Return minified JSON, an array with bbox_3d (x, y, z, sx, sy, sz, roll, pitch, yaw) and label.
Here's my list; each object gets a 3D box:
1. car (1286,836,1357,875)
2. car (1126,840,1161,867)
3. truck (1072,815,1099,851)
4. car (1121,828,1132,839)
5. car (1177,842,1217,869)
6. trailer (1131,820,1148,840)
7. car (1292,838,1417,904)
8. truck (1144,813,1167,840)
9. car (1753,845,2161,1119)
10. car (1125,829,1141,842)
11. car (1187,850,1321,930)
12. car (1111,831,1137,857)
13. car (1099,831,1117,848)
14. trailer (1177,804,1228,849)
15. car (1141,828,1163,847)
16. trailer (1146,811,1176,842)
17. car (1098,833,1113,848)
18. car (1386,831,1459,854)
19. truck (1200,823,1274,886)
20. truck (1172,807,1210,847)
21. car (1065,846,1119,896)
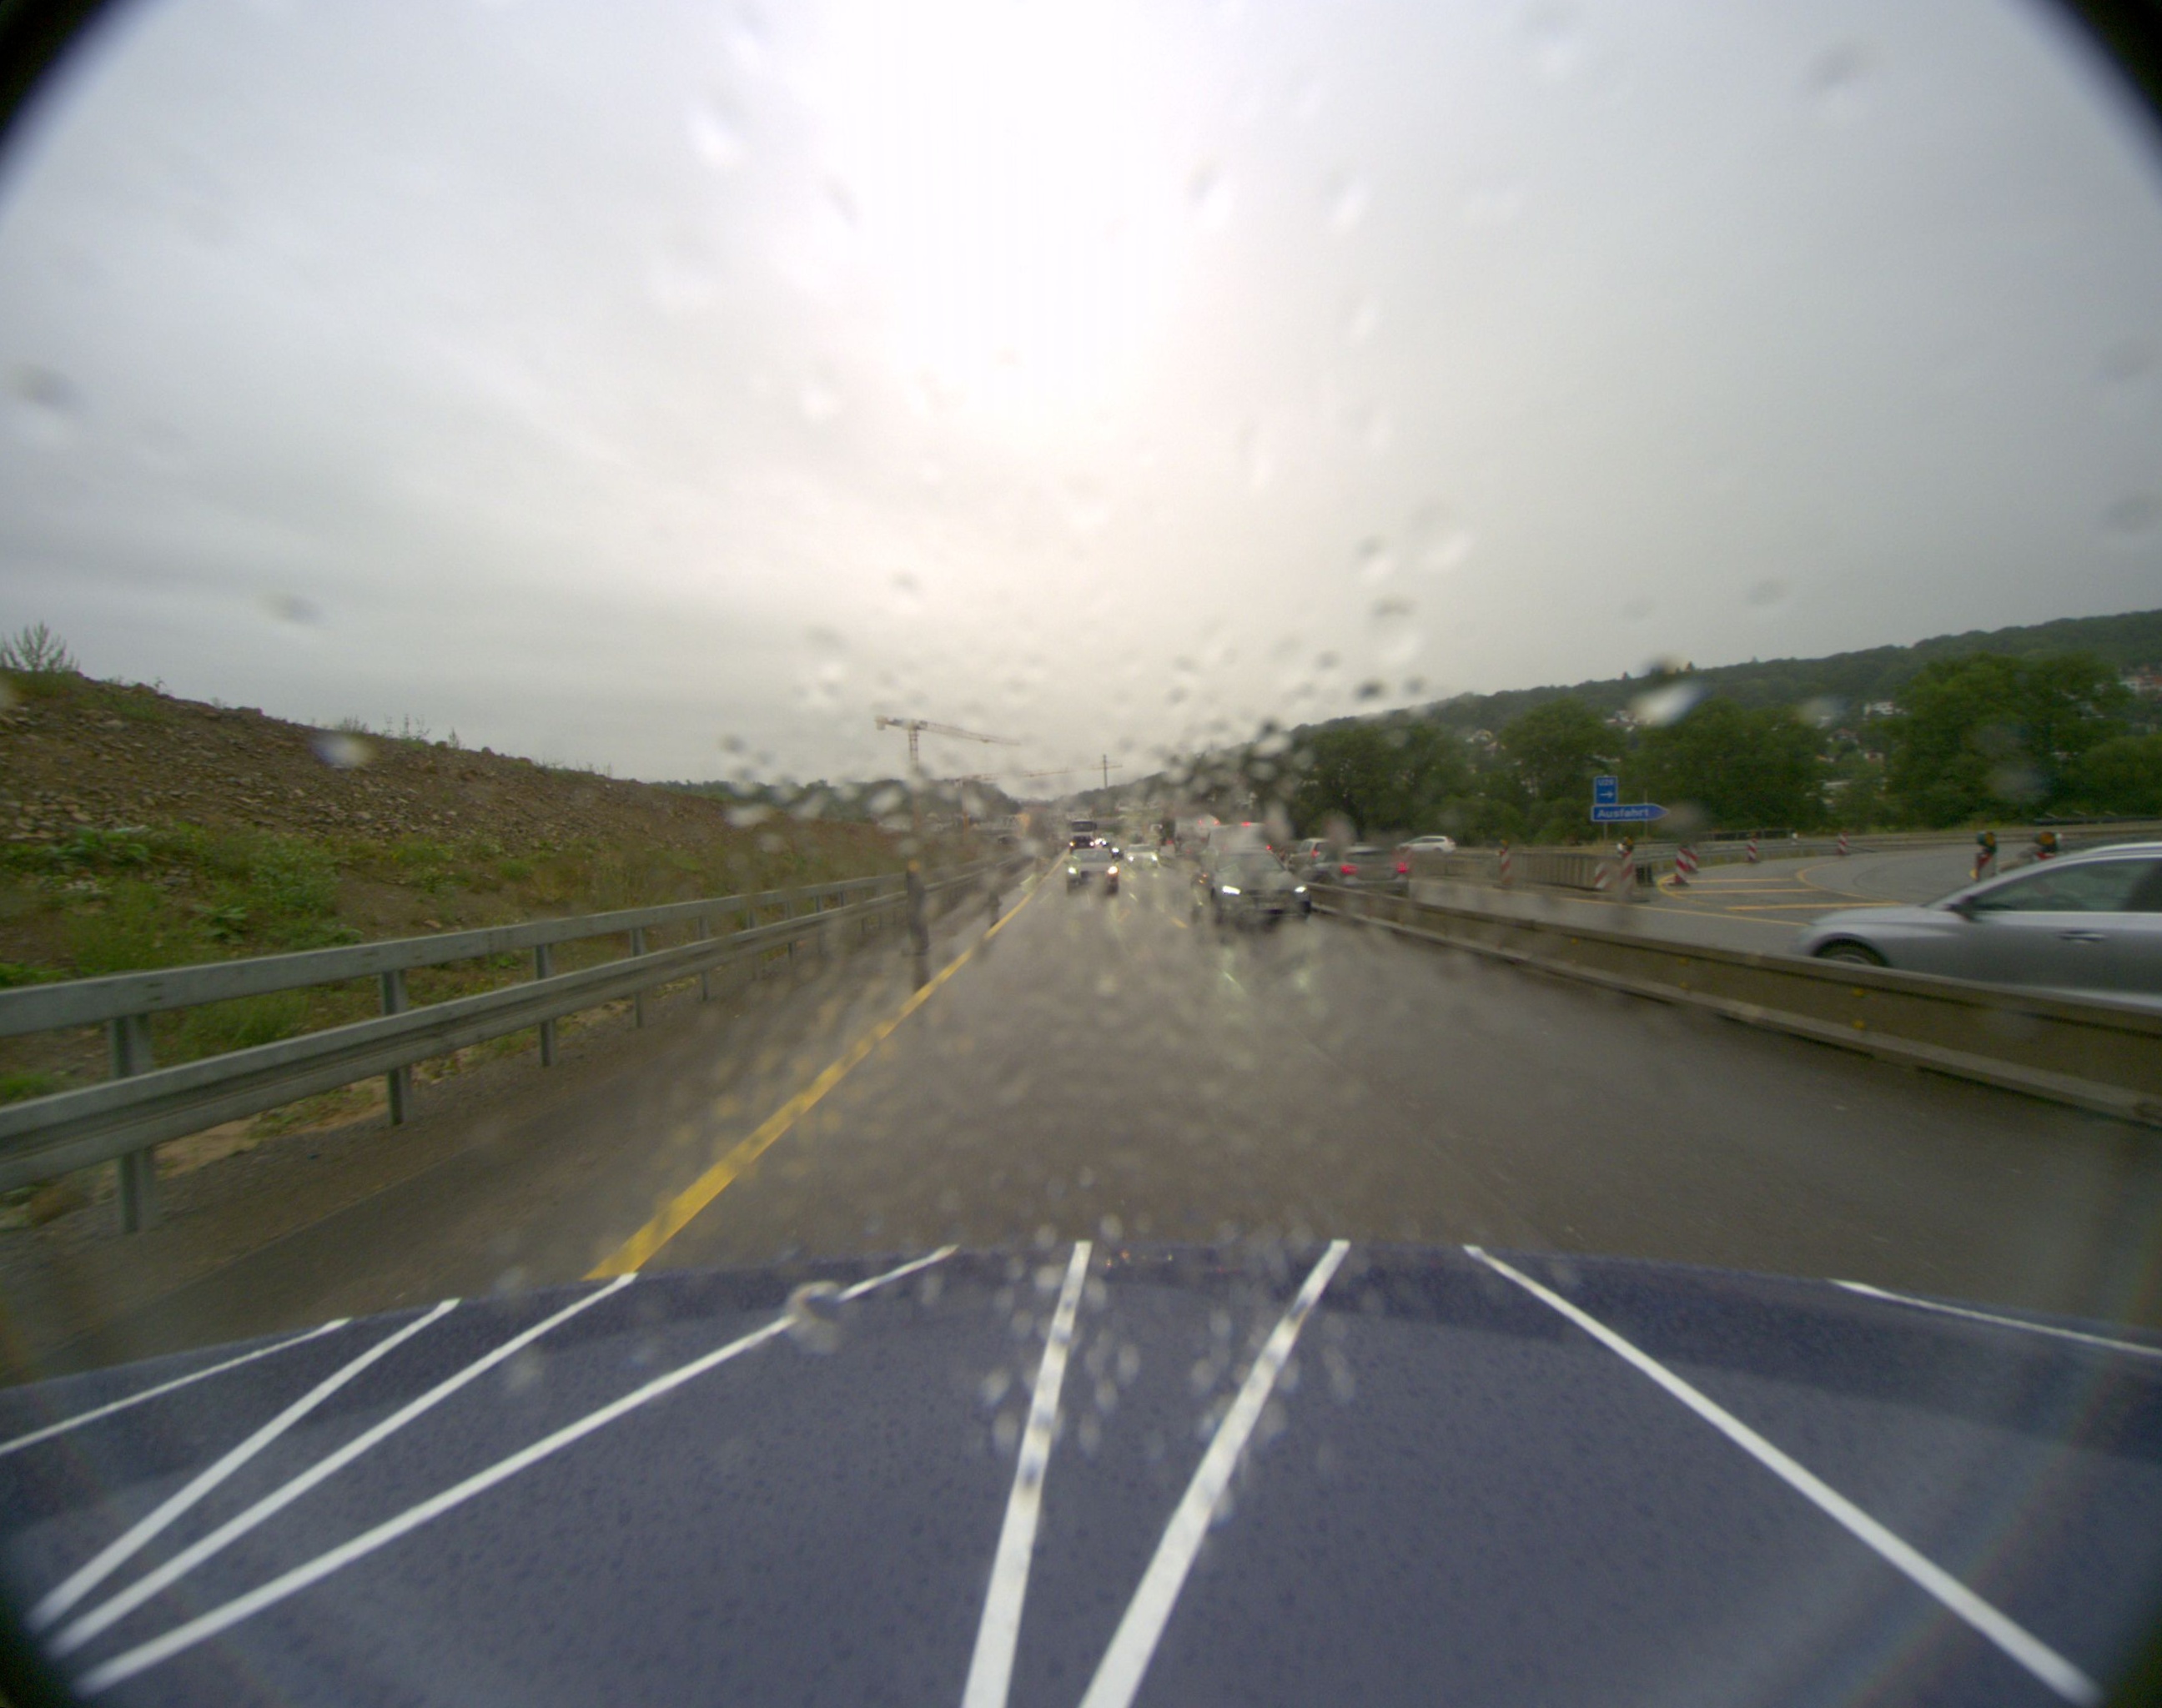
[{"bbox_3d":[10.340,0.025,32.945,1.792,1.537,3.999,-2,1,0],"label":"car"},{"bbox_3d":[3.739,-0.059,45.785,1.781,1.430,4.482,-2,2,1],"label":"car"},{"bbox_3d":[0.499,-2.208,78.104,2.575,3.452,6.624,-2,2,1],"label":"truck"},{"bbox_3d":[8.214,-3.727,136.804,1.791,1.795,5.187,0,2,0],"label":"car"},{"bbox_3d":[7.143,0.046,47.196,1.777,1.496,4.677,-1,1,0],"label":"car"},{"bbox_3d":[12.018,-4.925,156.447,2.692,3.941,9.815,0,2,0],"label":"trailer"},{"bbox_3d":[7.093,0.359,20.185,1.791,1.529,4.311,-1,1,0],"label":"car"},{"bbox_3d":[11.381,-4.196,116.396,2.756,4.040,6.145,-2,2,1],"label":"truck"},{"bbox_3d":[6.942,0.722,4.726,1.681,1.515,4.344,-1,1,0],"label":"car"},{"bbox_3d":[7.693,-2.786,112.650,1.998,1.749,4.686,-2,2,1],"label":"car"},{"bbox_3d":[3.570,0.663,16.528,1.951,1.430,4.483,-2,1,1],"label":"car"},{"bbox_3d":[3.571,-0.822,62.659,1.998,2.002,4.000,-1,1,5],"label":"car"},{"bbox_3d":[3.436,-1.832,97.458,1.998,2.002,4.187,-2,0,0],"label":"car"},{"bbox_3d":[10.822,-2.476,69.006,2.627,3.657,11.999,-2,2,0],"label":"trailer"},{"bbox_3d":[7.131,-1.651,76.597,1.870,1.790,4.161,-2,2,0],"label":"car"},{"bbox_3d":[11.290,-3.933,108.600,2.756,4.020,15.353,-2,2,1],"label":"trailer"},{"bbox_3d":[3.514,-1.982,110.482,1.999,2.002,3.998,-2,2,0],"label":"car"},{"bbox_3d":[27.379,-0.924,60.980,5.031,1.691,1.854,0,3,41],"label":"car"},{"bbox_3d":[6.885,-0.083,34.257,2.084,2.562,5.959,-2,2,0],"label":"truck"},{"bbox_3d":[10.813,-2.680,75.242,2.627,3.657,6.592,-2,2,0],"label":"truck"},{"bbox_3d":[0.412,0.537,27.482,1.781,1.515,4.139,-2,2,1],"label":"car"}]
